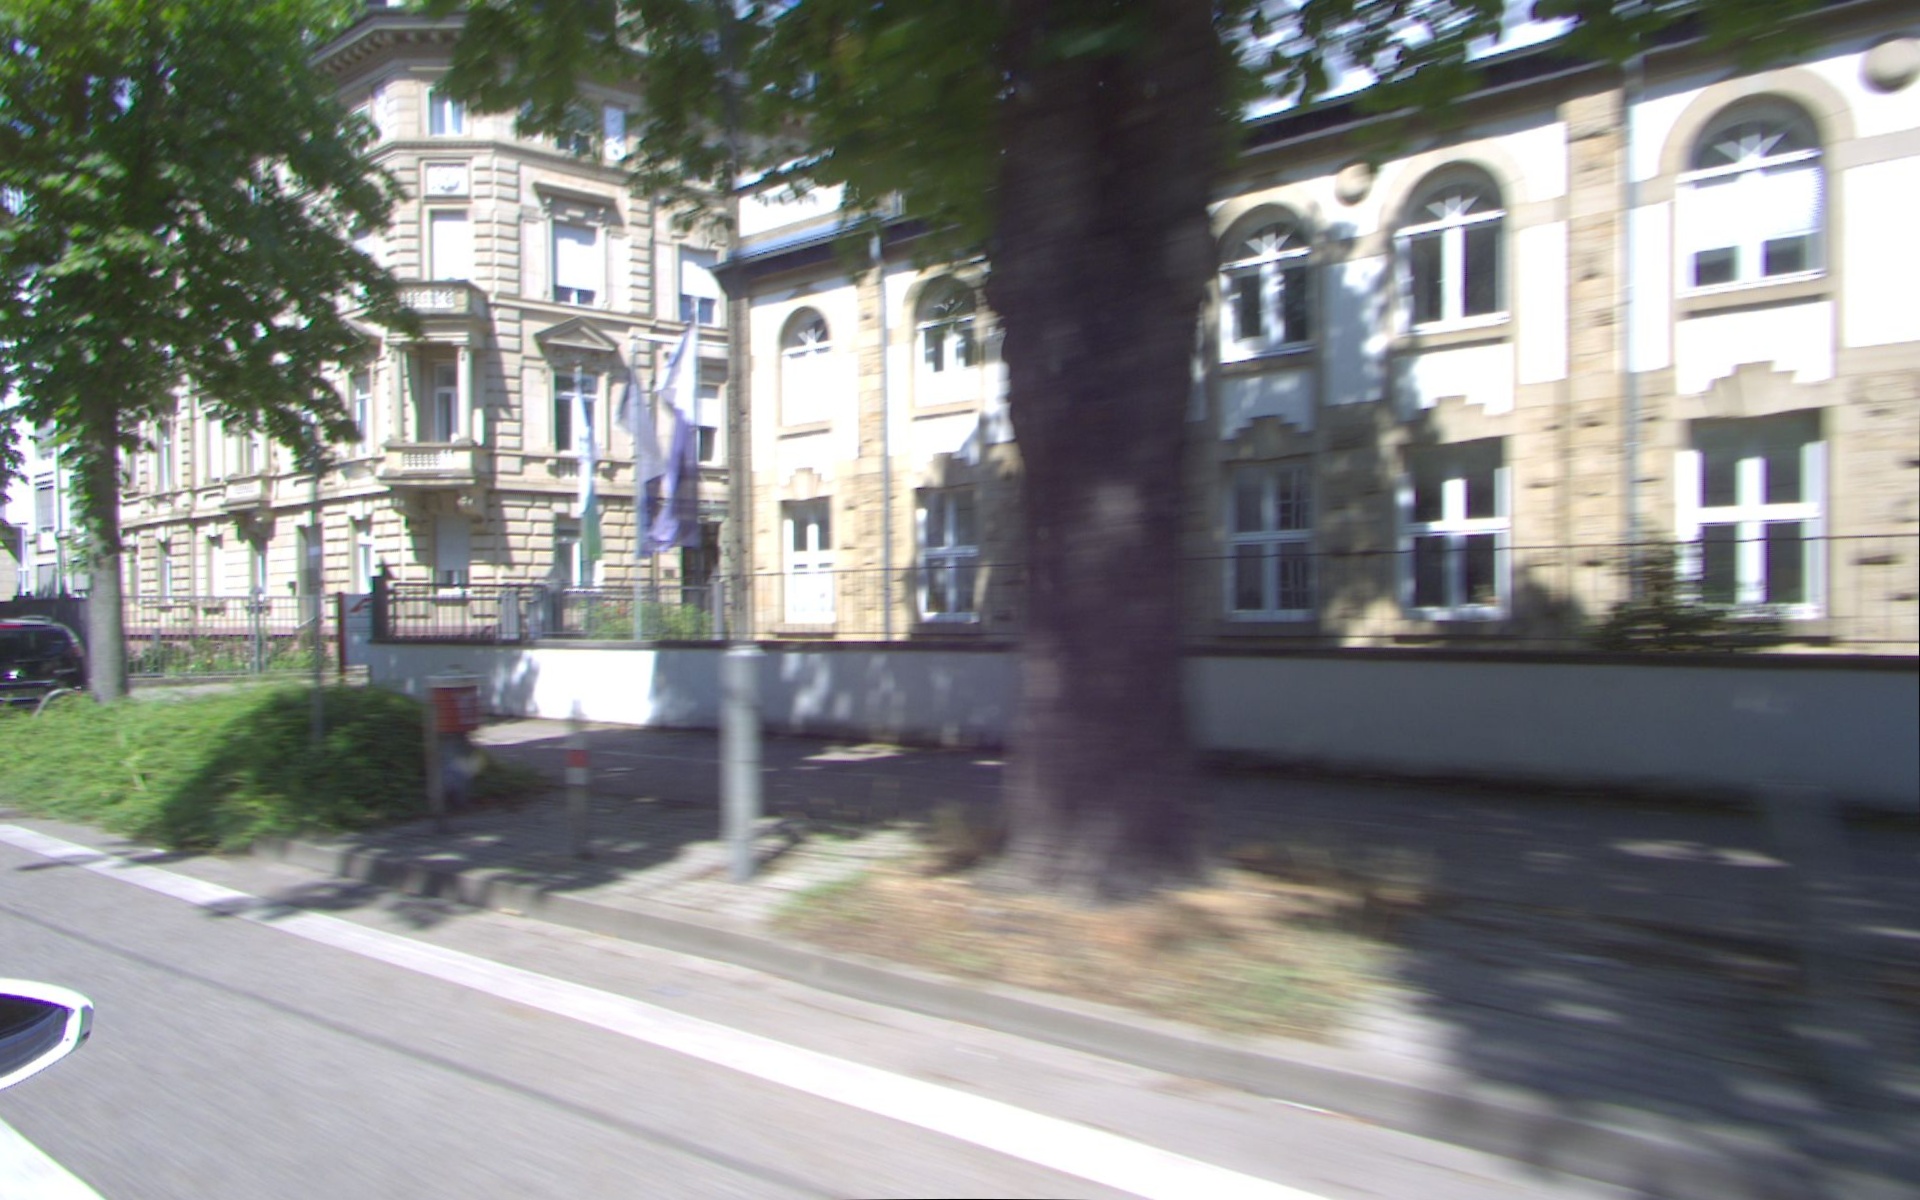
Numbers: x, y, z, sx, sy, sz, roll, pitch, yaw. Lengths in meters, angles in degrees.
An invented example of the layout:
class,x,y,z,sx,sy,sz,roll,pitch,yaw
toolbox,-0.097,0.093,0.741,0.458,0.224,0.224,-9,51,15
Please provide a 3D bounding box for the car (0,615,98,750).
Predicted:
class,x,y,z,sx,sy,sz,roll,pitch,yaw
car,-13.224,1.047,13.293,3.851,1.638,1.589,-1,-1,32
